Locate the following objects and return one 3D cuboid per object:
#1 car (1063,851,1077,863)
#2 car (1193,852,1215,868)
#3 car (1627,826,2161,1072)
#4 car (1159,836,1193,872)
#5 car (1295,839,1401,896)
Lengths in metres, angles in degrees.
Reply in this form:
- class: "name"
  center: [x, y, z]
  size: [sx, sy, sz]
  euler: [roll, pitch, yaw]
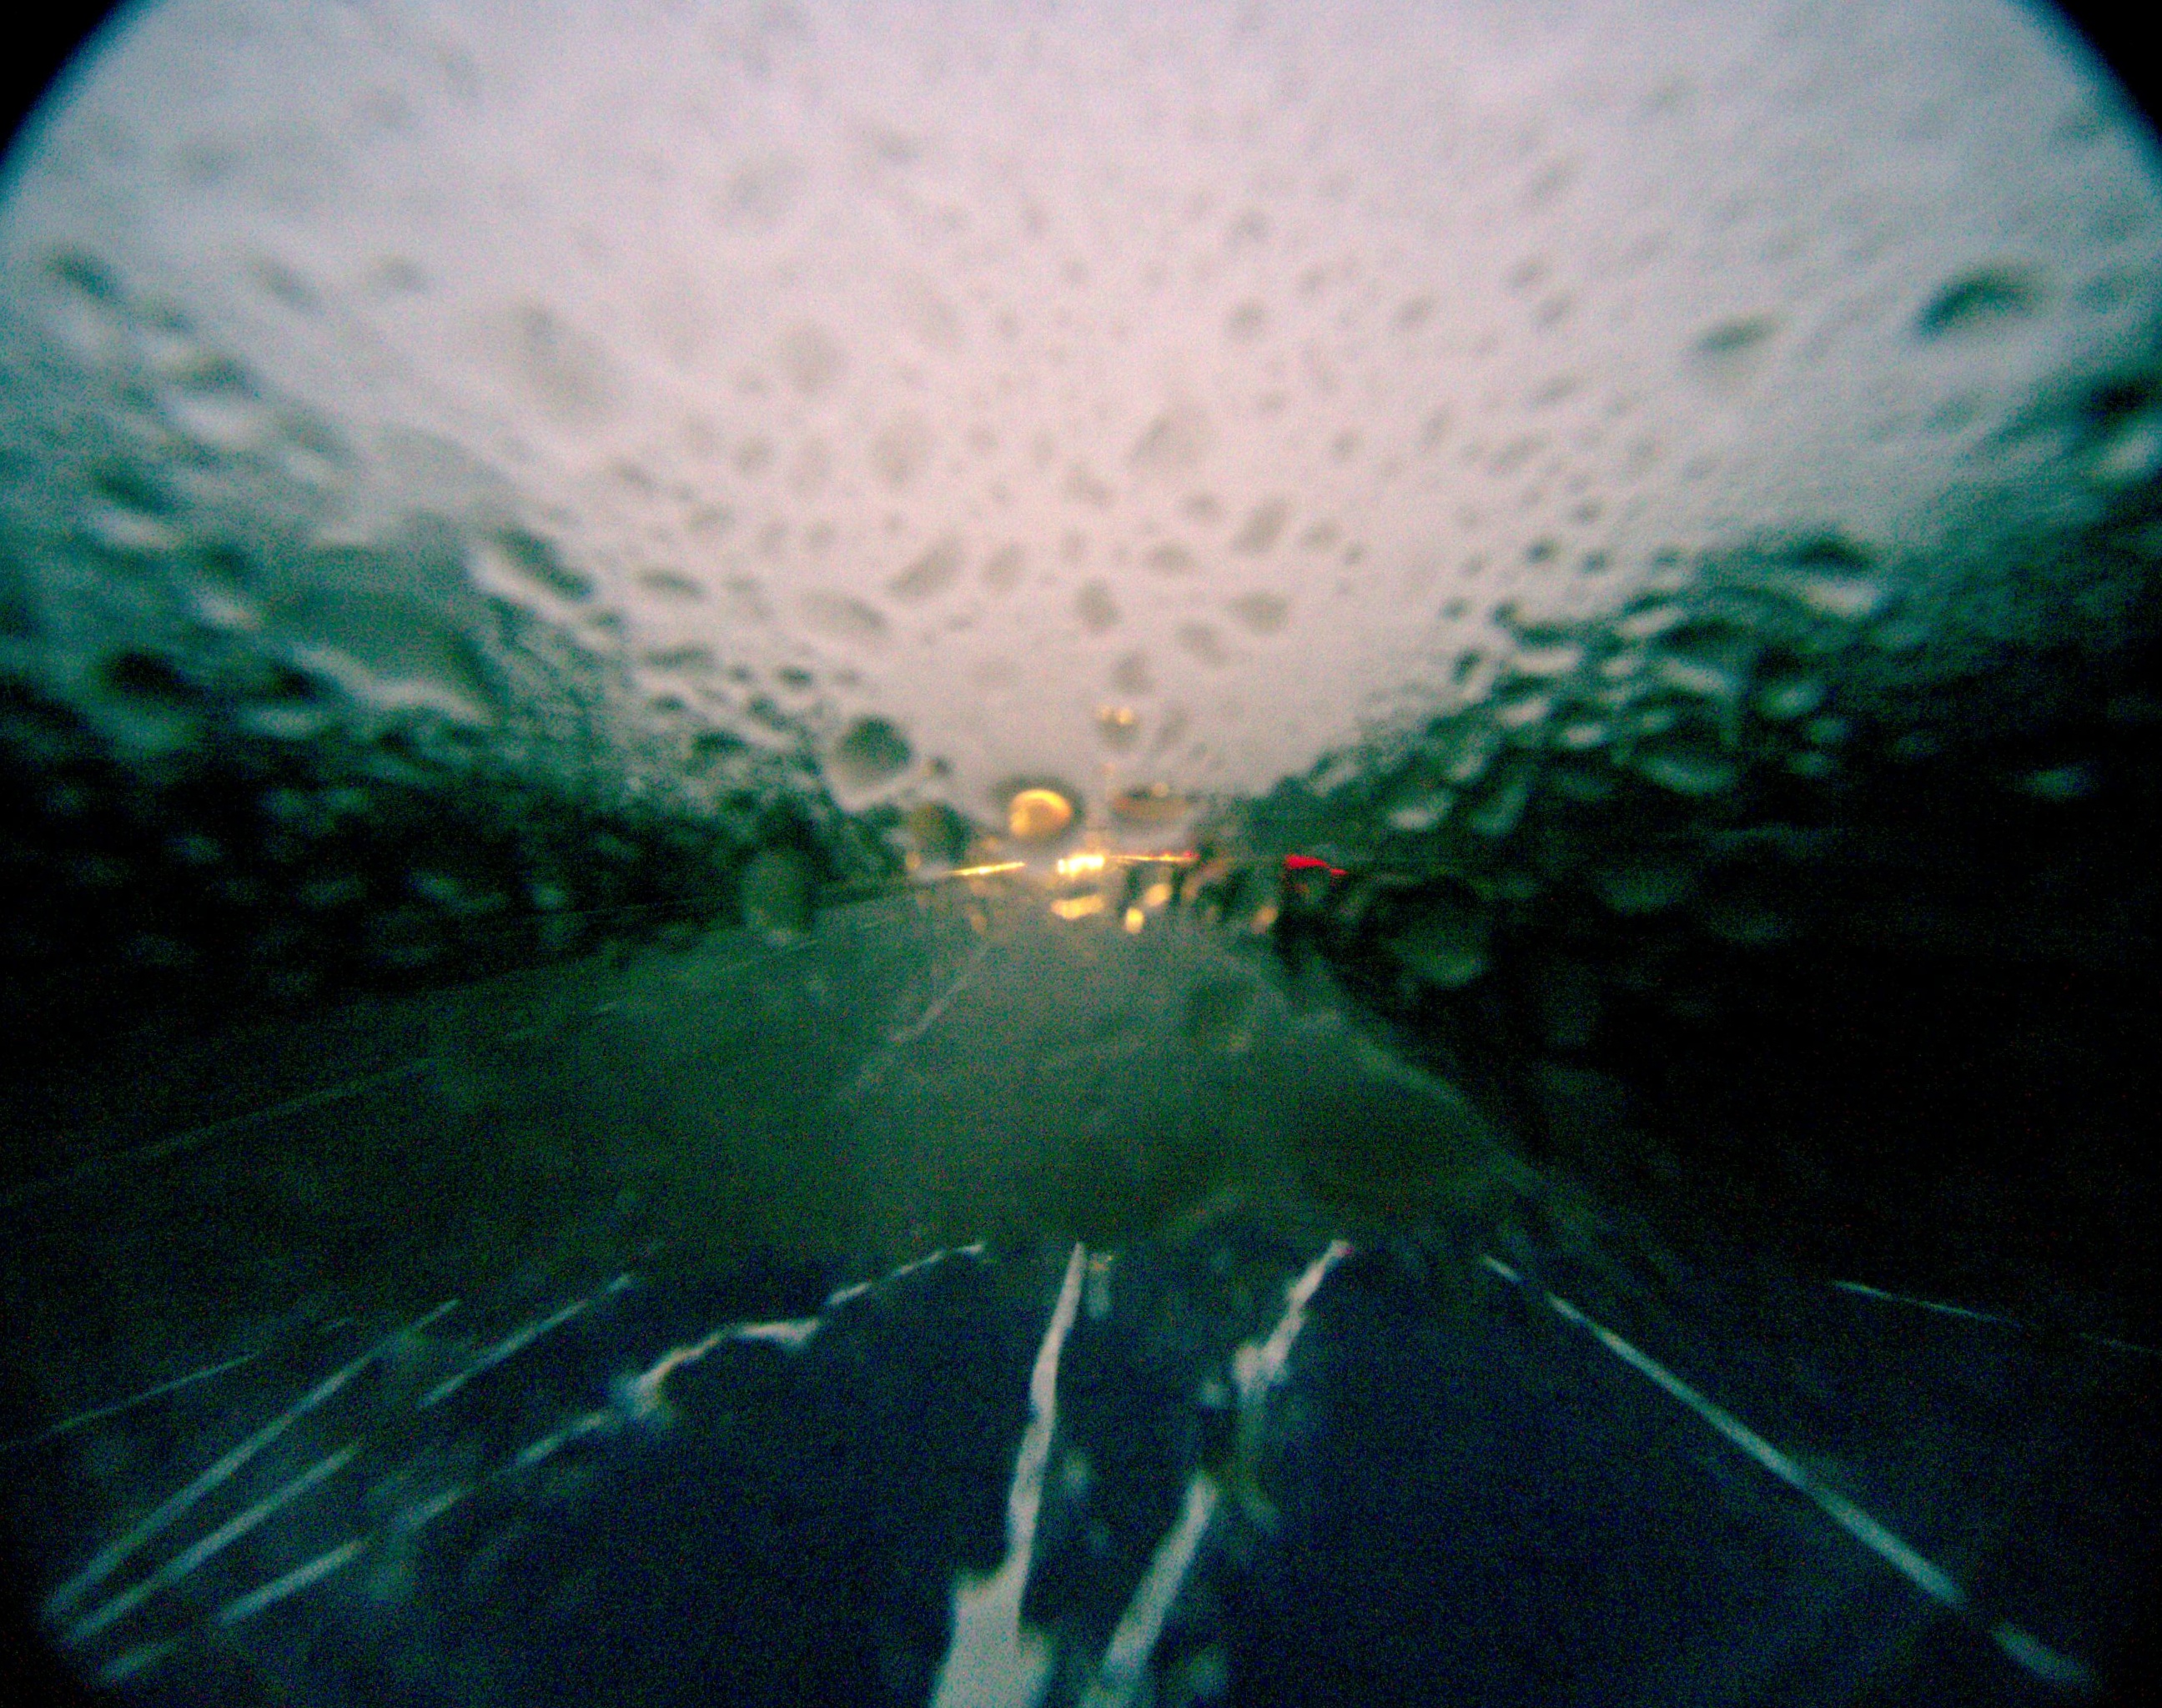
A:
- class: "car"
  center: [-1.611, 0.463, 108.587]
  size: [1.748, 1.643, 4.000]
  euler: [-2, 1, 2]
- class: "car"
  center: [13.414, 0.602, 83.208]
  size: [1.694, 1.637, 4.605]
  euler: [-2, 0, 1]
- class: "car"
  center: [7.526, 0.576, 7.018]
  size: [1.821, 1.482, 4.239]
  euler: [-4, 1, -1]
- class: "car"
  center: [8.542, -0.043, 69.048]
  size: [2.309, 3.072, 5.607]
  euler: [-2, 1, 0]
- class: "car"
  center: [8.272, 0.376, 23.926]
  size: [1.835, 1.584, 4.152]
  euler: [-2, 1, 0]
